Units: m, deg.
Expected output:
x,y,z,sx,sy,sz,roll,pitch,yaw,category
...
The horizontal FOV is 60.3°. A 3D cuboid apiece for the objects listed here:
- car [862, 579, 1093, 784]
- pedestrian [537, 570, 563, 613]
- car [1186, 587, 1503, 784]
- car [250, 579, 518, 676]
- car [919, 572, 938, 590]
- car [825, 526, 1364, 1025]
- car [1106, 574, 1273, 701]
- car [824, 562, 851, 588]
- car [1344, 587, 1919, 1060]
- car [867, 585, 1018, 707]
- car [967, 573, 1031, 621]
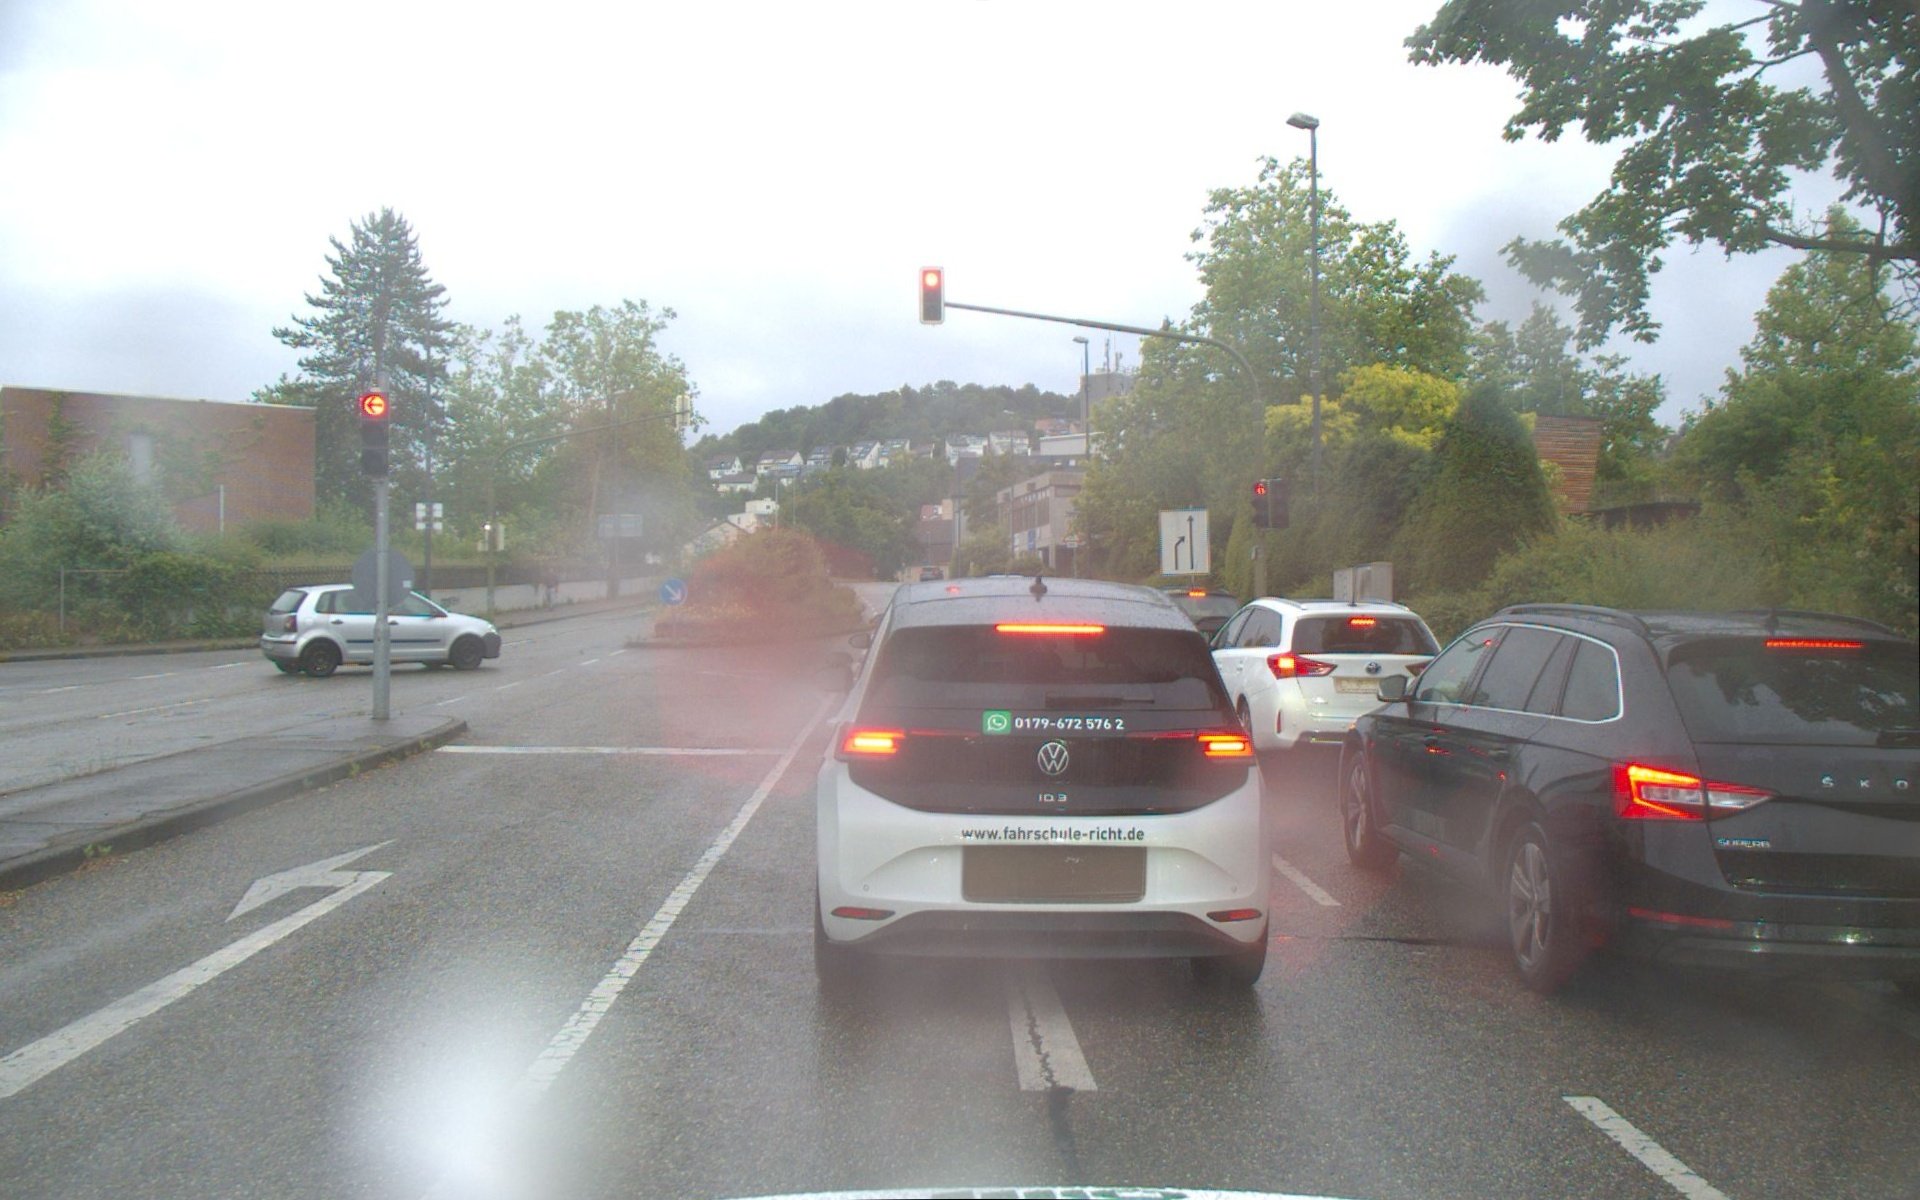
x,y,z,sx,sy,sz,roll,pitch,yaw,category
0.092,0.625,15.218,1.800,1.582,4.174,1,1,-1,car
-15.667,-0.338,63.213,0.744,1.595,0.825,-2,0,-2,pedestrian
3.292,0.656,15.008,1.800,1.492,4.116,1,1,-1,car
-9.603,0.427,27.747,3.962,1.492,1.563,-1,0,-40,car
-3.031,-1.844,159.409,1.739,1.609,3.999,-2,0,-1,car
0.407,0.577,7.936,1.800,1.657,4.614,1,1,-1,car
3.145,0.485,23.372,1.739,1.609,3.999,1,0,-1,car
-10.371,-2.086,140.060,1.953,2.049,3.999,1,-1,-1,car
3.140,0.715,7.504,1.800,1.492,4.350,1,1,1,car
-0.255,0.542,22.033,1.800,1.424,3.830,1,1,-1,car
1.213,-0.110,52.585,1.726,1.443,3.747,-1,1,-3,car
